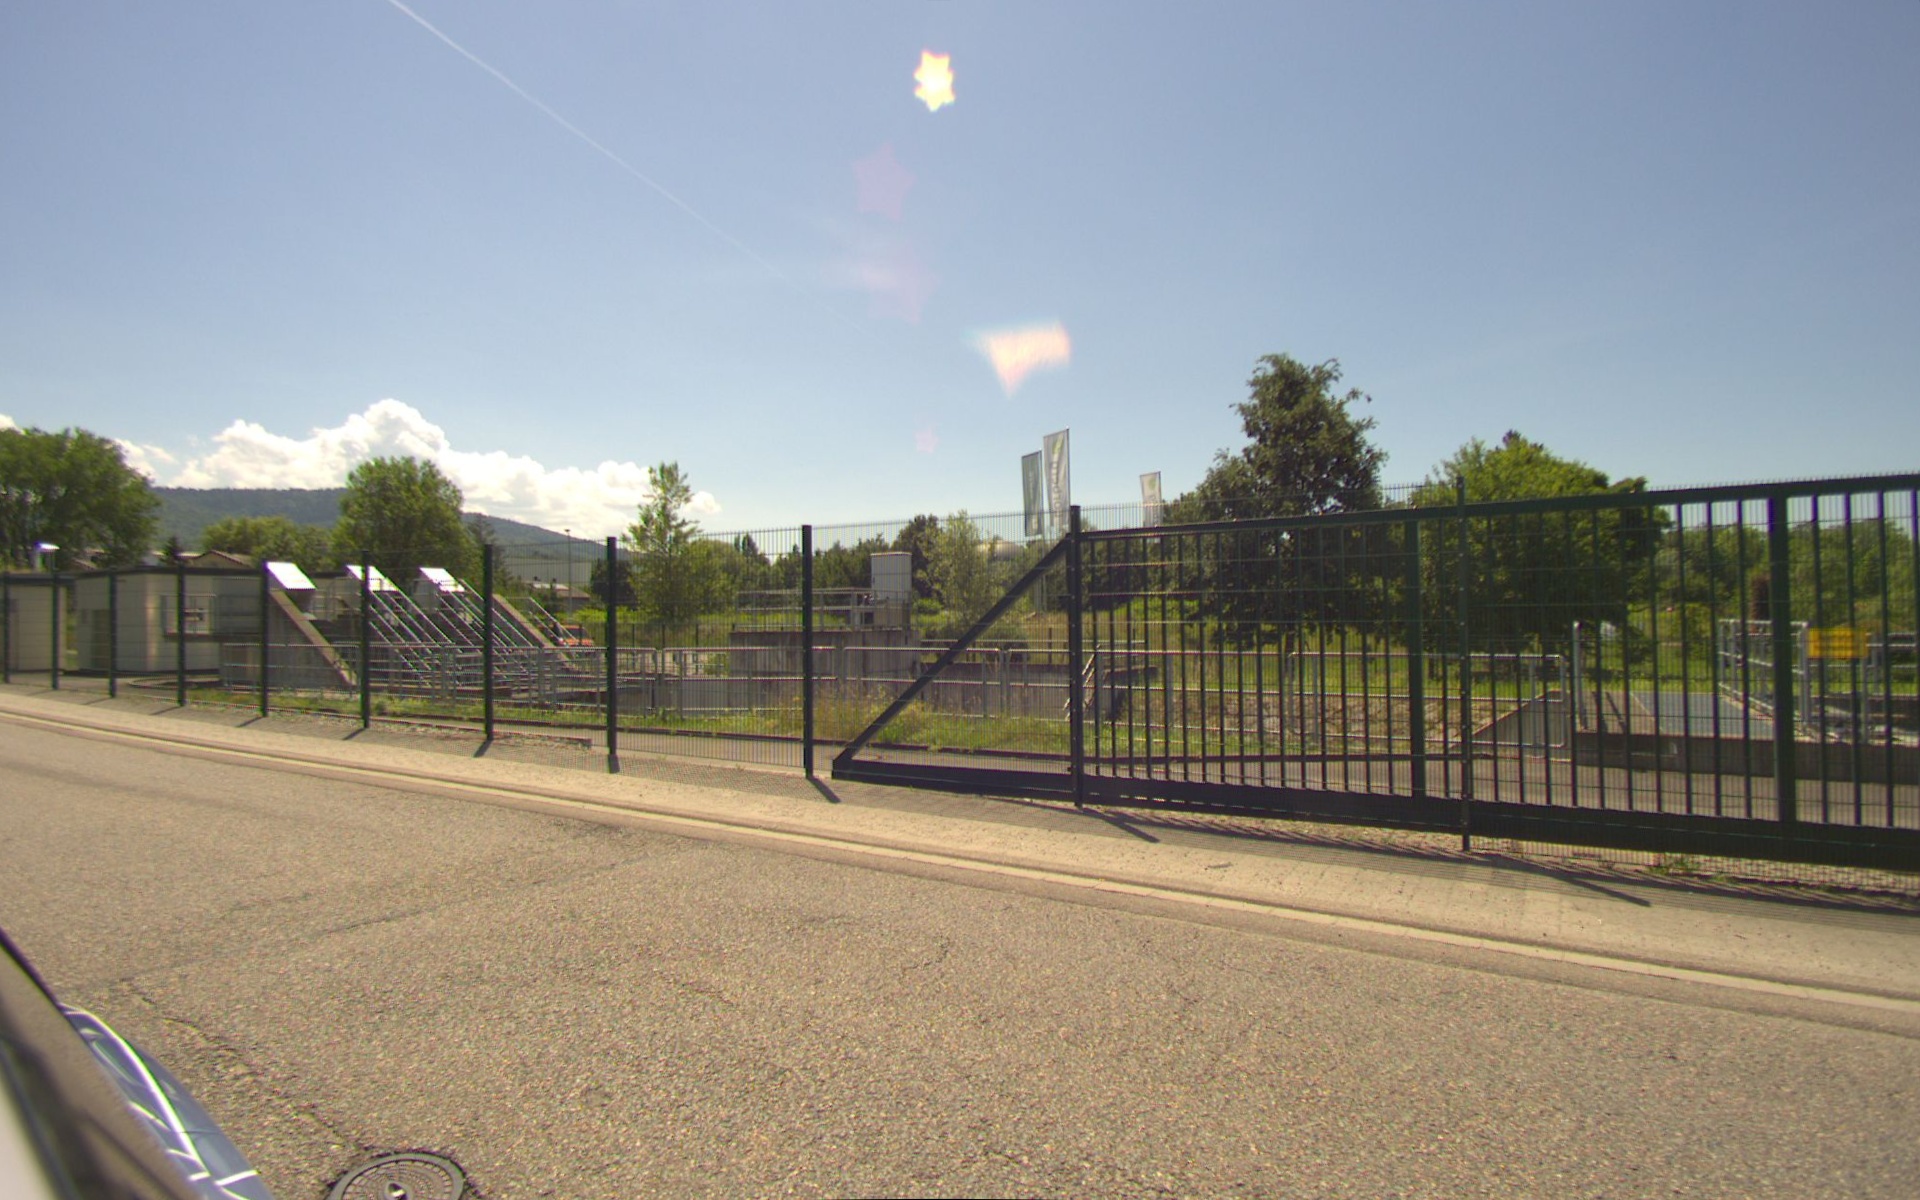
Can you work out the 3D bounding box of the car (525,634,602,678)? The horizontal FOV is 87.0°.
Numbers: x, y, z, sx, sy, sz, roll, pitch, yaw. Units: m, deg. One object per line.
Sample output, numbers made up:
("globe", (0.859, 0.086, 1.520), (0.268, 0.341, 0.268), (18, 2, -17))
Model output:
("car", (-19.687, 2.750, 50.087), (1.969, 2.029, 4.870), (5, -4, -40))
